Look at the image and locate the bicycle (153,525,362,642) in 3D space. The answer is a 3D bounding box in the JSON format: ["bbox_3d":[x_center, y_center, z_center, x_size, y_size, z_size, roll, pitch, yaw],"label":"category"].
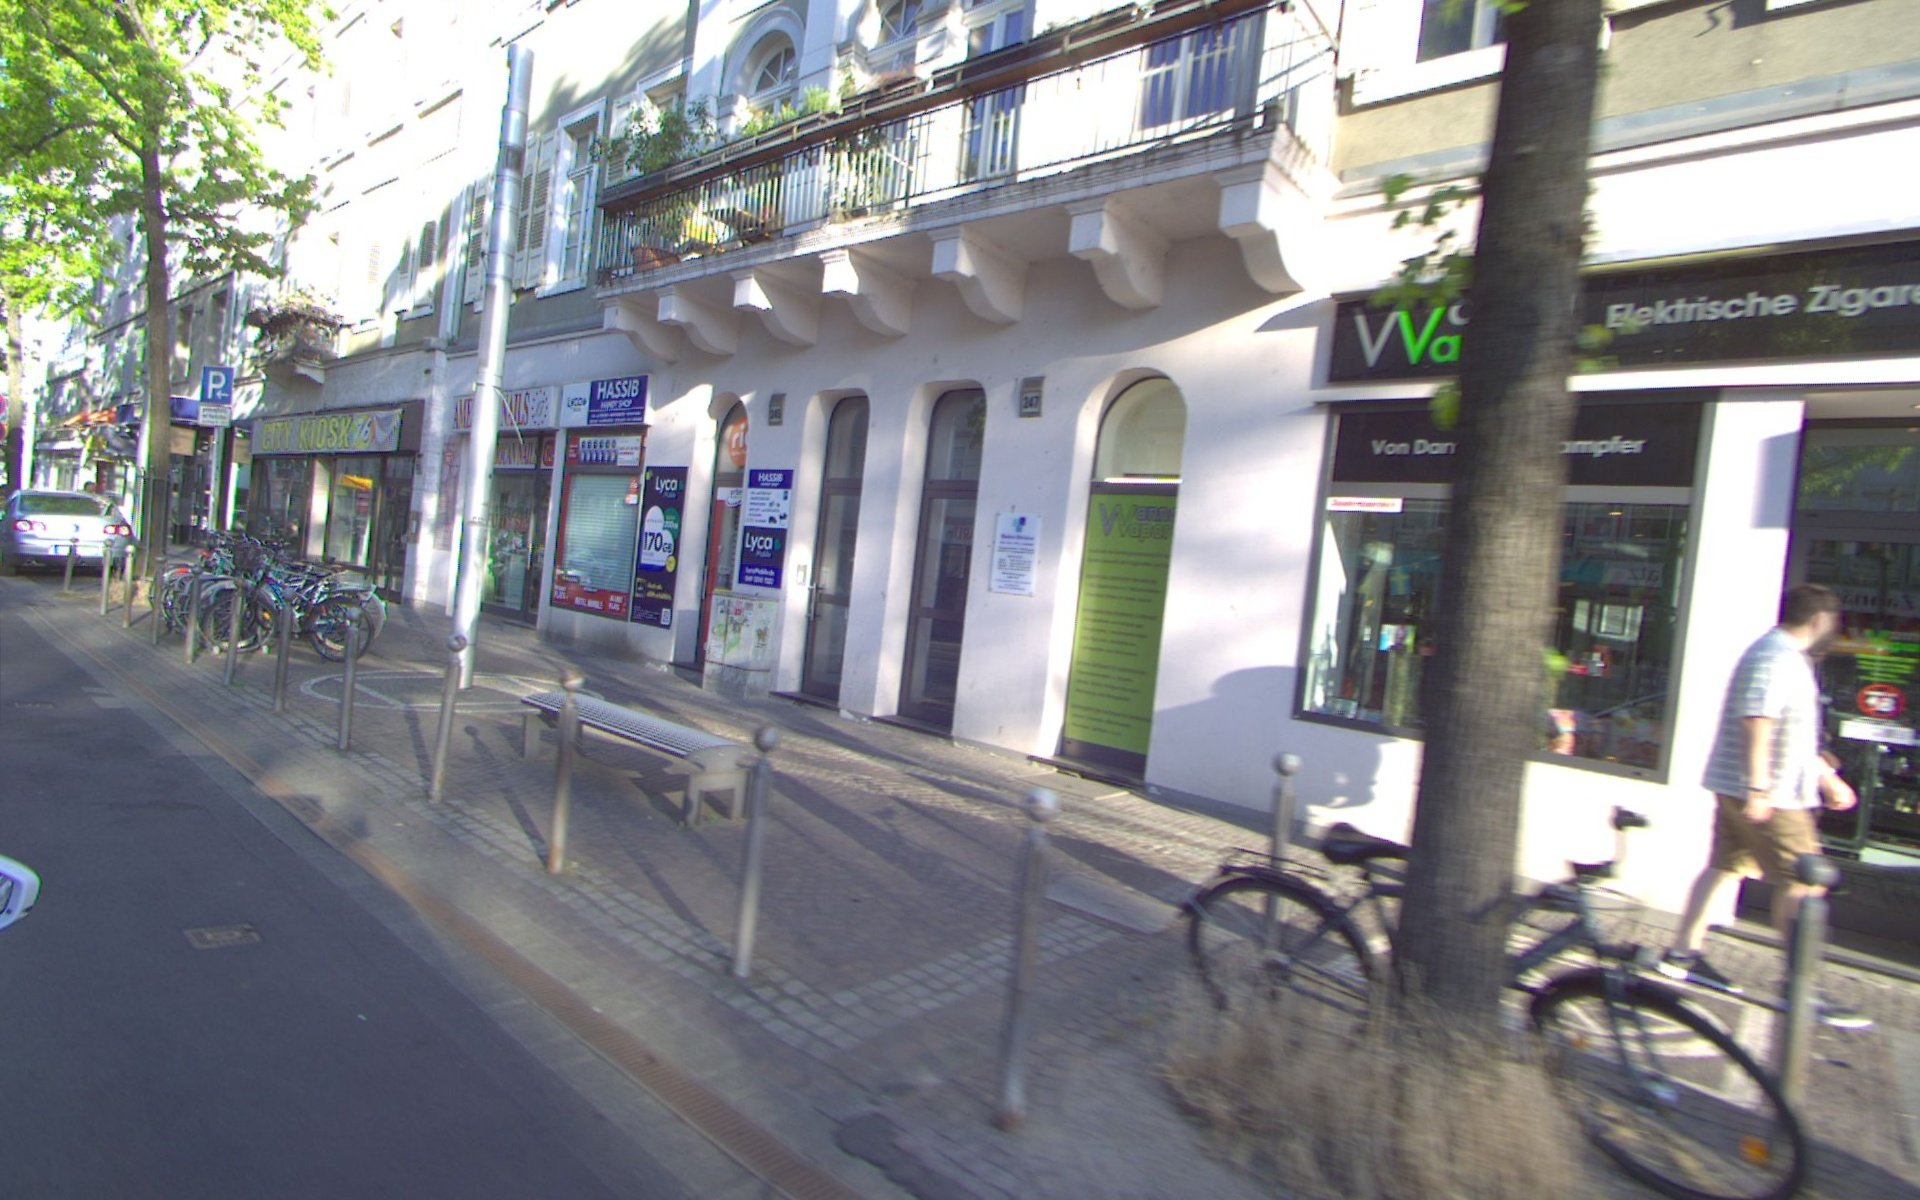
[{"bbox_3d":[-8.202,-0.167,11.815,0.555,1.169,1.862,7,0,43],"label":"bicycle"}]

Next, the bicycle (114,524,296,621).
[{"bbox_3d":[-10.078,-0.343,13.483,0.555,1.170,1.860,7,3,43],"label":"bicycle"}]

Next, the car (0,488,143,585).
[{"bbox_3d":[-16.096,-1.174,17.896,4.361,1.460,1.770,6,3,42],"label":"car"}]

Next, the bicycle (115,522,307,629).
[{"bbox_3d":[-9.634,-0.285,13.002,0.555,1.169,1.862,7,0,43],"label":"bicycle"}]

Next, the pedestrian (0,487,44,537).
[{"bbox_3d":[-29.056,-2.705,31.102,0.733,1.405,0.709,6,1,4],"label":"pedestrian"}]

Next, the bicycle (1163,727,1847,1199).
[{"bbox_3d":[1.514,1.068,3.069,1.674,1.090,0.354,6,1,38],"label":"bicycle"}]

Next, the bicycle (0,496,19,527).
[{"bbox_3d":[-36.857,-3.422,37.947,0.700,1.088,1.856,7,2,31],"label":"bicycle"}]

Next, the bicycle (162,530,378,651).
[{"bbox_3d":[-7.709,-0.073,11.320,0.555,1.169,1.862,7,0,43],"label":"bicycle"}]

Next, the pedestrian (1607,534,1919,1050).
[{"bbox_3d":[3.650,0.779,4.576,0.838,2.039,0.836,5,1,-44],"label":"pedestrian"}]

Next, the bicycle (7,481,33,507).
[{"bbox_3d":[-44.728,-5.053,47.867,1.834,1.088,0.646,7,2,40],"label":"bicycle"}]

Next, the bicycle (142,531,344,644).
[{"bbox_3d":[-8.688,-0.126,12.257,0.555,1.169,1.862,7,0,43],"label":"bicycle"}]

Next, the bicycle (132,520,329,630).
[{"bbox_3d":[-9.138,-0.287,12.662,0.555,1.169,1.862,7,0,43],"label":"bicycle"}]

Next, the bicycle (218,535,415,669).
[{"bbox_3d":[-6.613,0.021,10.372,1.650,1.169,0.461,6,1,1],"label":"bicycle"}]

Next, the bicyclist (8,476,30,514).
[{"bbox_3d":[-44.843,-5.005,47.945,0.591,1.706,0.637,8,3,39],"label":"bicyclist"}]

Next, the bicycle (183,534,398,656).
[{"bbox_3d":[-7.286,-0.021,11.044,0.343,1.169,1.862,7,0,43],"label":"bicycle"}]

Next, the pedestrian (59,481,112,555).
[{"bbox_3d":[-21.179,-1.984,24.368,0.745,1.665,0.801,8,3,41],"label":"pedestrian"}]
